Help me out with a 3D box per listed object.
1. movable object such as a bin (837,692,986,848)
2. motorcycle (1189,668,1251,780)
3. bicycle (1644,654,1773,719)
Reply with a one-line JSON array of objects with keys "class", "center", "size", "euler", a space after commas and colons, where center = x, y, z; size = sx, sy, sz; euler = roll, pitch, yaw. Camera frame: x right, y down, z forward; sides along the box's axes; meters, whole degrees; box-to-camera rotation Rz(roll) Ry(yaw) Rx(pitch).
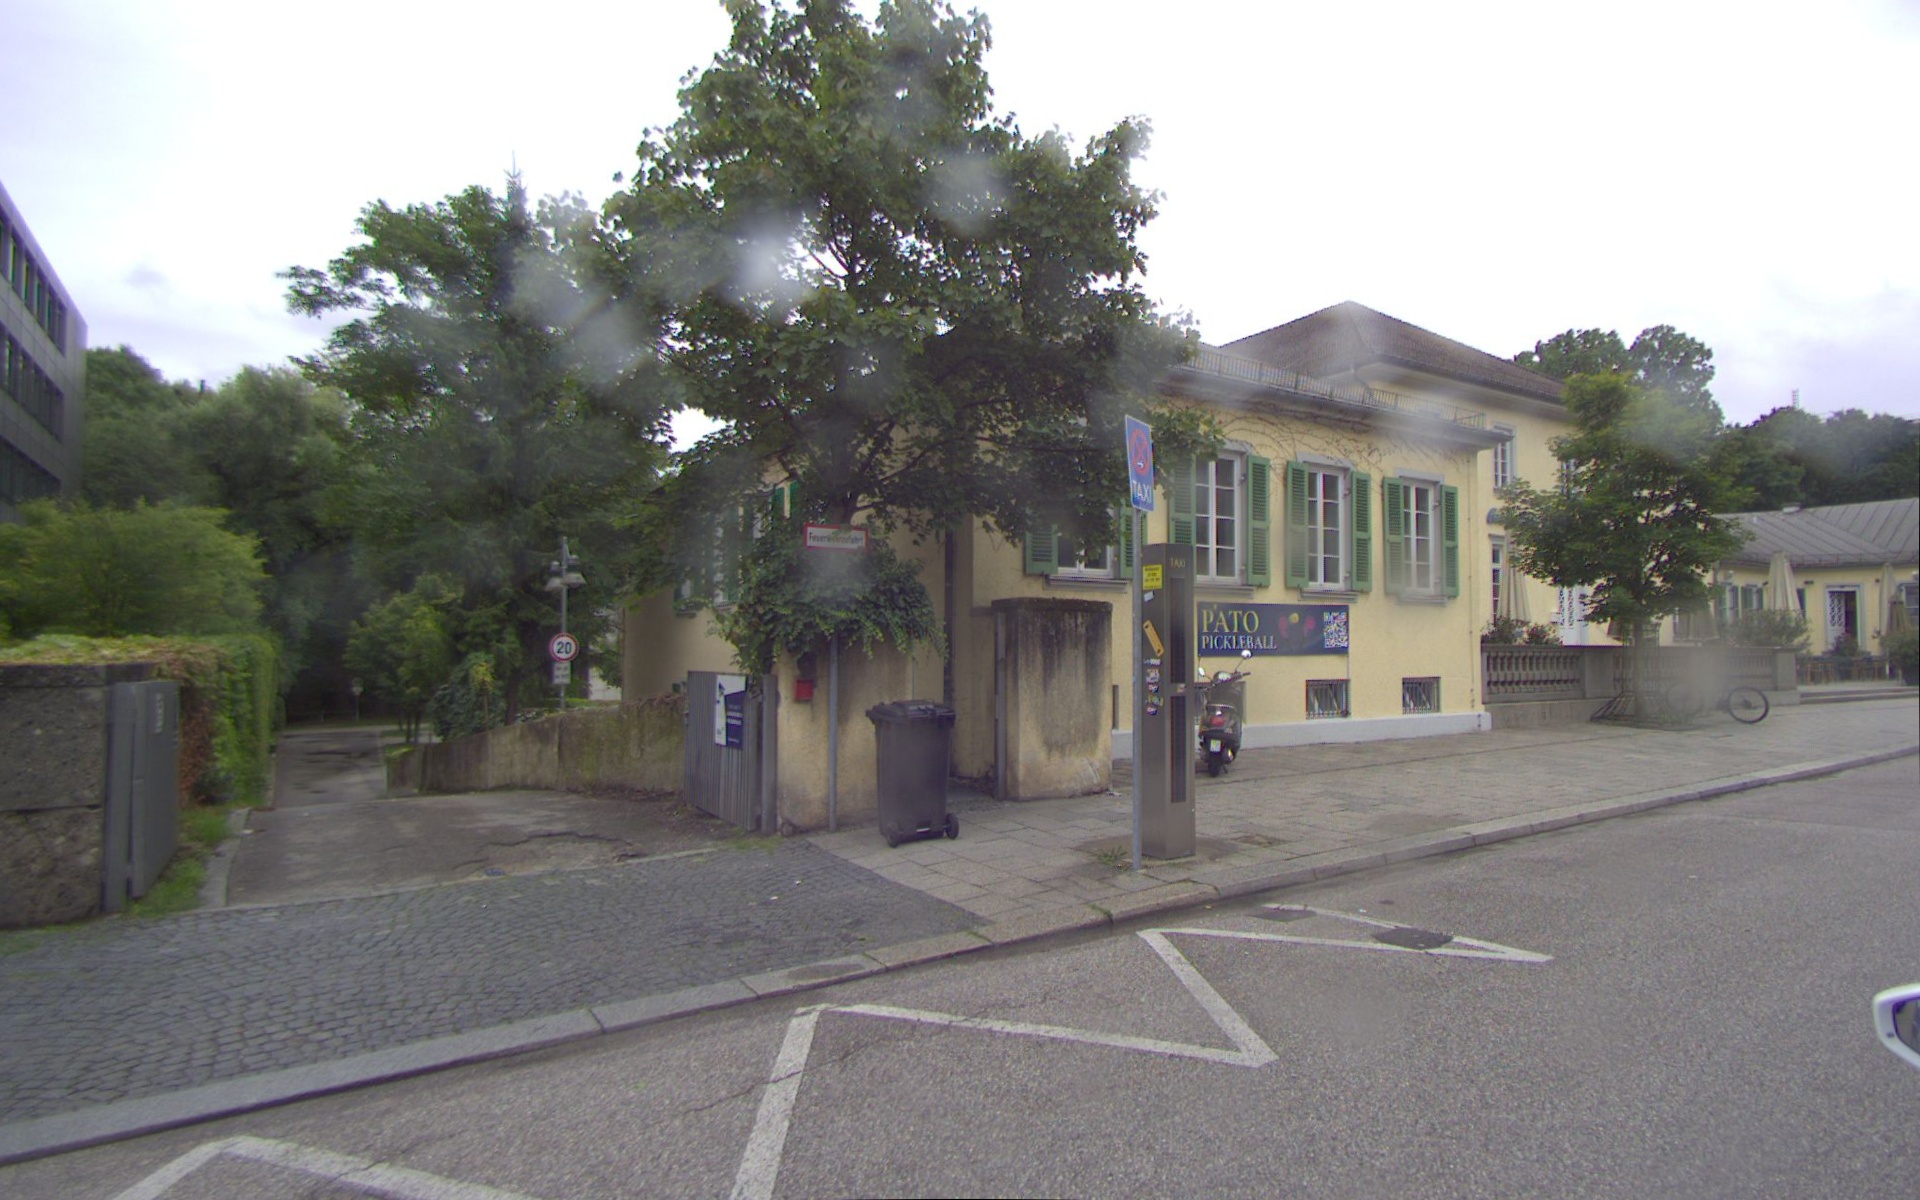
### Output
[{"class": "movable object such as a bin", "center": [-0.398, 1.318, 8.074], "size": [0.832, 1.078, 0.928], "euler": [1, -2, -37]}, {"class": "motorcycle", "center": [3.069, 1.395, 11.764], "size": [0.548, 1.115, 1.838], "euler": [1, -1, 19]}, {"class": "bicycle", "center": [14.496, 1.645, 19.500], "size": [0.608, 1.113, 1.921], "euler": [1, -1, -31]}]
